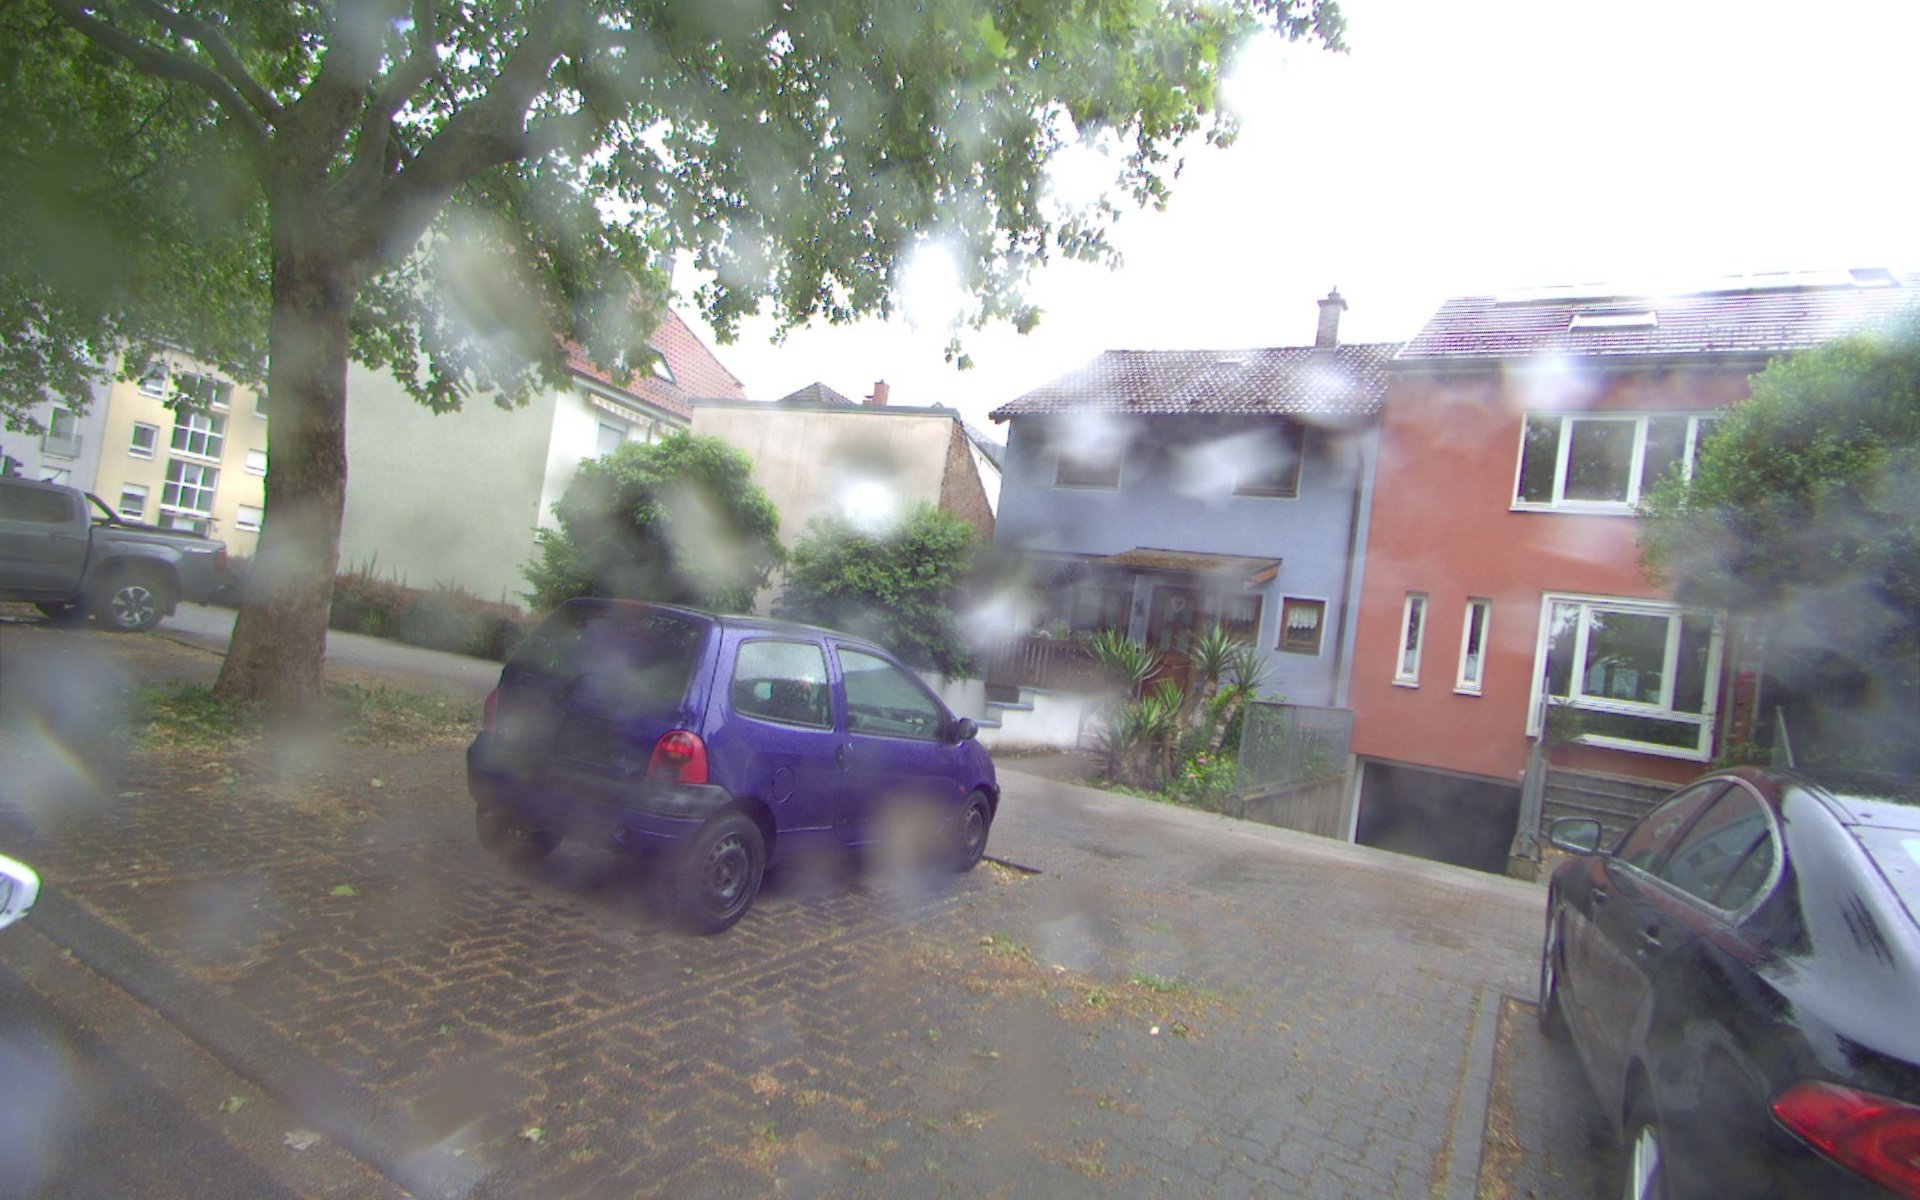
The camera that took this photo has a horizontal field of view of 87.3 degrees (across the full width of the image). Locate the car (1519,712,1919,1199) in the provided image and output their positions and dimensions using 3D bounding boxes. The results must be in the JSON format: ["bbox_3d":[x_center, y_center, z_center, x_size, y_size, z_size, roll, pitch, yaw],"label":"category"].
[{"bbox_3d":[2.979,1.238,3.003,1.903,1.489,4.781,7,-2,27],"label":"car"}]

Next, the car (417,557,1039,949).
[{"bbox_3d":[-1.048,0.790,5.968,1.591,1.480,3.364,7,-3,30],"label":"car"}]

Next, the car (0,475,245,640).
[{"bbox_3d":[-12.342,-0.675,12.465,1.812,1.827,5.357,7,-2,25],"label":"car"}]
